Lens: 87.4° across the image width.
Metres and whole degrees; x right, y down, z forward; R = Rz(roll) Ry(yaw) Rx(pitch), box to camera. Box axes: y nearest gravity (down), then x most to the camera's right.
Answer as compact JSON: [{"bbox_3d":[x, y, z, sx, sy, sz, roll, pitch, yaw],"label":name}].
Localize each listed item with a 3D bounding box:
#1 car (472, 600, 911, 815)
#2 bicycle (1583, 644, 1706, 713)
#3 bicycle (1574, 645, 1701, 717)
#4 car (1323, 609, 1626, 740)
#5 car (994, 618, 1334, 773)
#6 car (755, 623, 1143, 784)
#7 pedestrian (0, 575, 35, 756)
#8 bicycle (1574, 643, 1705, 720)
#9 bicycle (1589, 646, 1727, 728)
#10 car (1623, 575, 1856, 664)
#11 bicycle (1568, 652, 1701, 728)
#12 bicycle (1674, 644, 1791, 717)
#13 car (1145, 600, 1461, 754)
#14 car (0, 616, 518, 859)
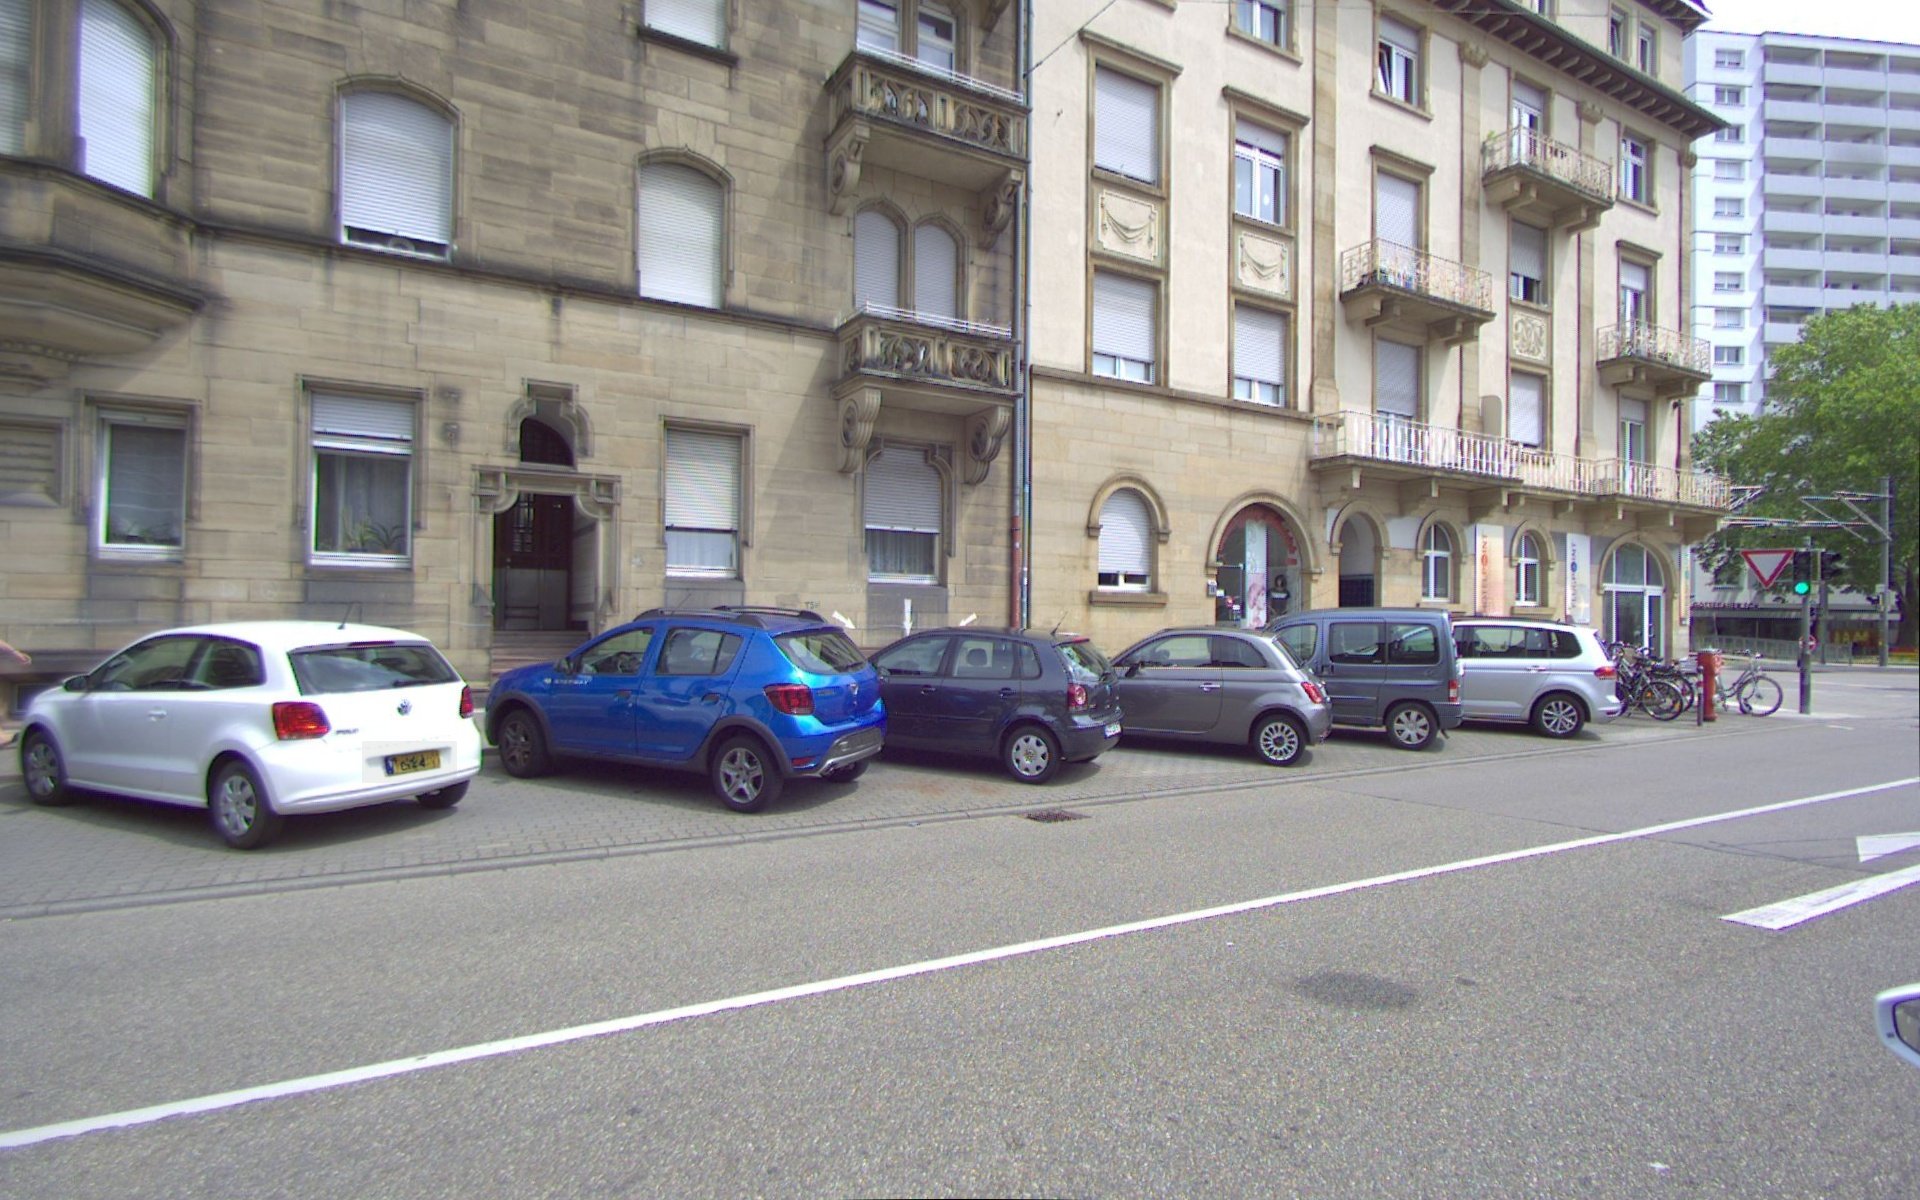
[{"bbox_3d":[-2.502,0.857,9.380,3.706,1.673,1.723,0,-1,24],"label":"car"},{"bbox_3d":[12.844,1.445,18.893,0.588,1.135,1.796,1,1,-37],"label":"bicycle"},{"bbox_3d":[12.350,1.448,18.361,0.588,1.135,1.796,1,1,-37],"label":"bicycle"},{"bbox_3d":[7.702,1.052,15.451,3.934,1.797,1.796,0,-1,22],"label":"car"},{"bbox_3d":[2.577,1.077,12.586,3.934,1.673,1.796,0,-1,22],"label":"car"},{"bbox_3d":[-0.112,1.002,10.988,3.830,1.463,1.836,0,-1,25],"label":"car"},{"bbox_3d":[-9.093,0.582,9.249,0.671,1.616,0.787,1,1,-30],"label":"pedestrian"},{"bbox_3d":[11.988,1.404,17.767,0.588,1.182,1.796,1,1,-37],"label":"bicycle"},{"bbox_3d":[11.662,1.423,16.848,0.586,1.135,1.803,1,2,-25],"label":"bicycle"},{"bbox_3d":[38.265,0.962,50.044,3.389,3.967,9.911,0,-1,-5],"label":"car"},{"bbox_3d":[11.068,1.445,16.551,0.586,1.135,1.805,1,-1,-23],"label":"bicycle"},{"bbox_3d":[14.260,1.461,18.610,0.489,1.182,1.878,2,1,-9],"label":"bicycle"},{"bbox_3d":[4.714,0.978,14.024,3.934,1.903,1.796,0,-1,22],"label":"car"},{"bbox_3d":[-5.470,0.889,7.832,3.616,1.501,1.741,0,-1,25],"label":"car"}]
